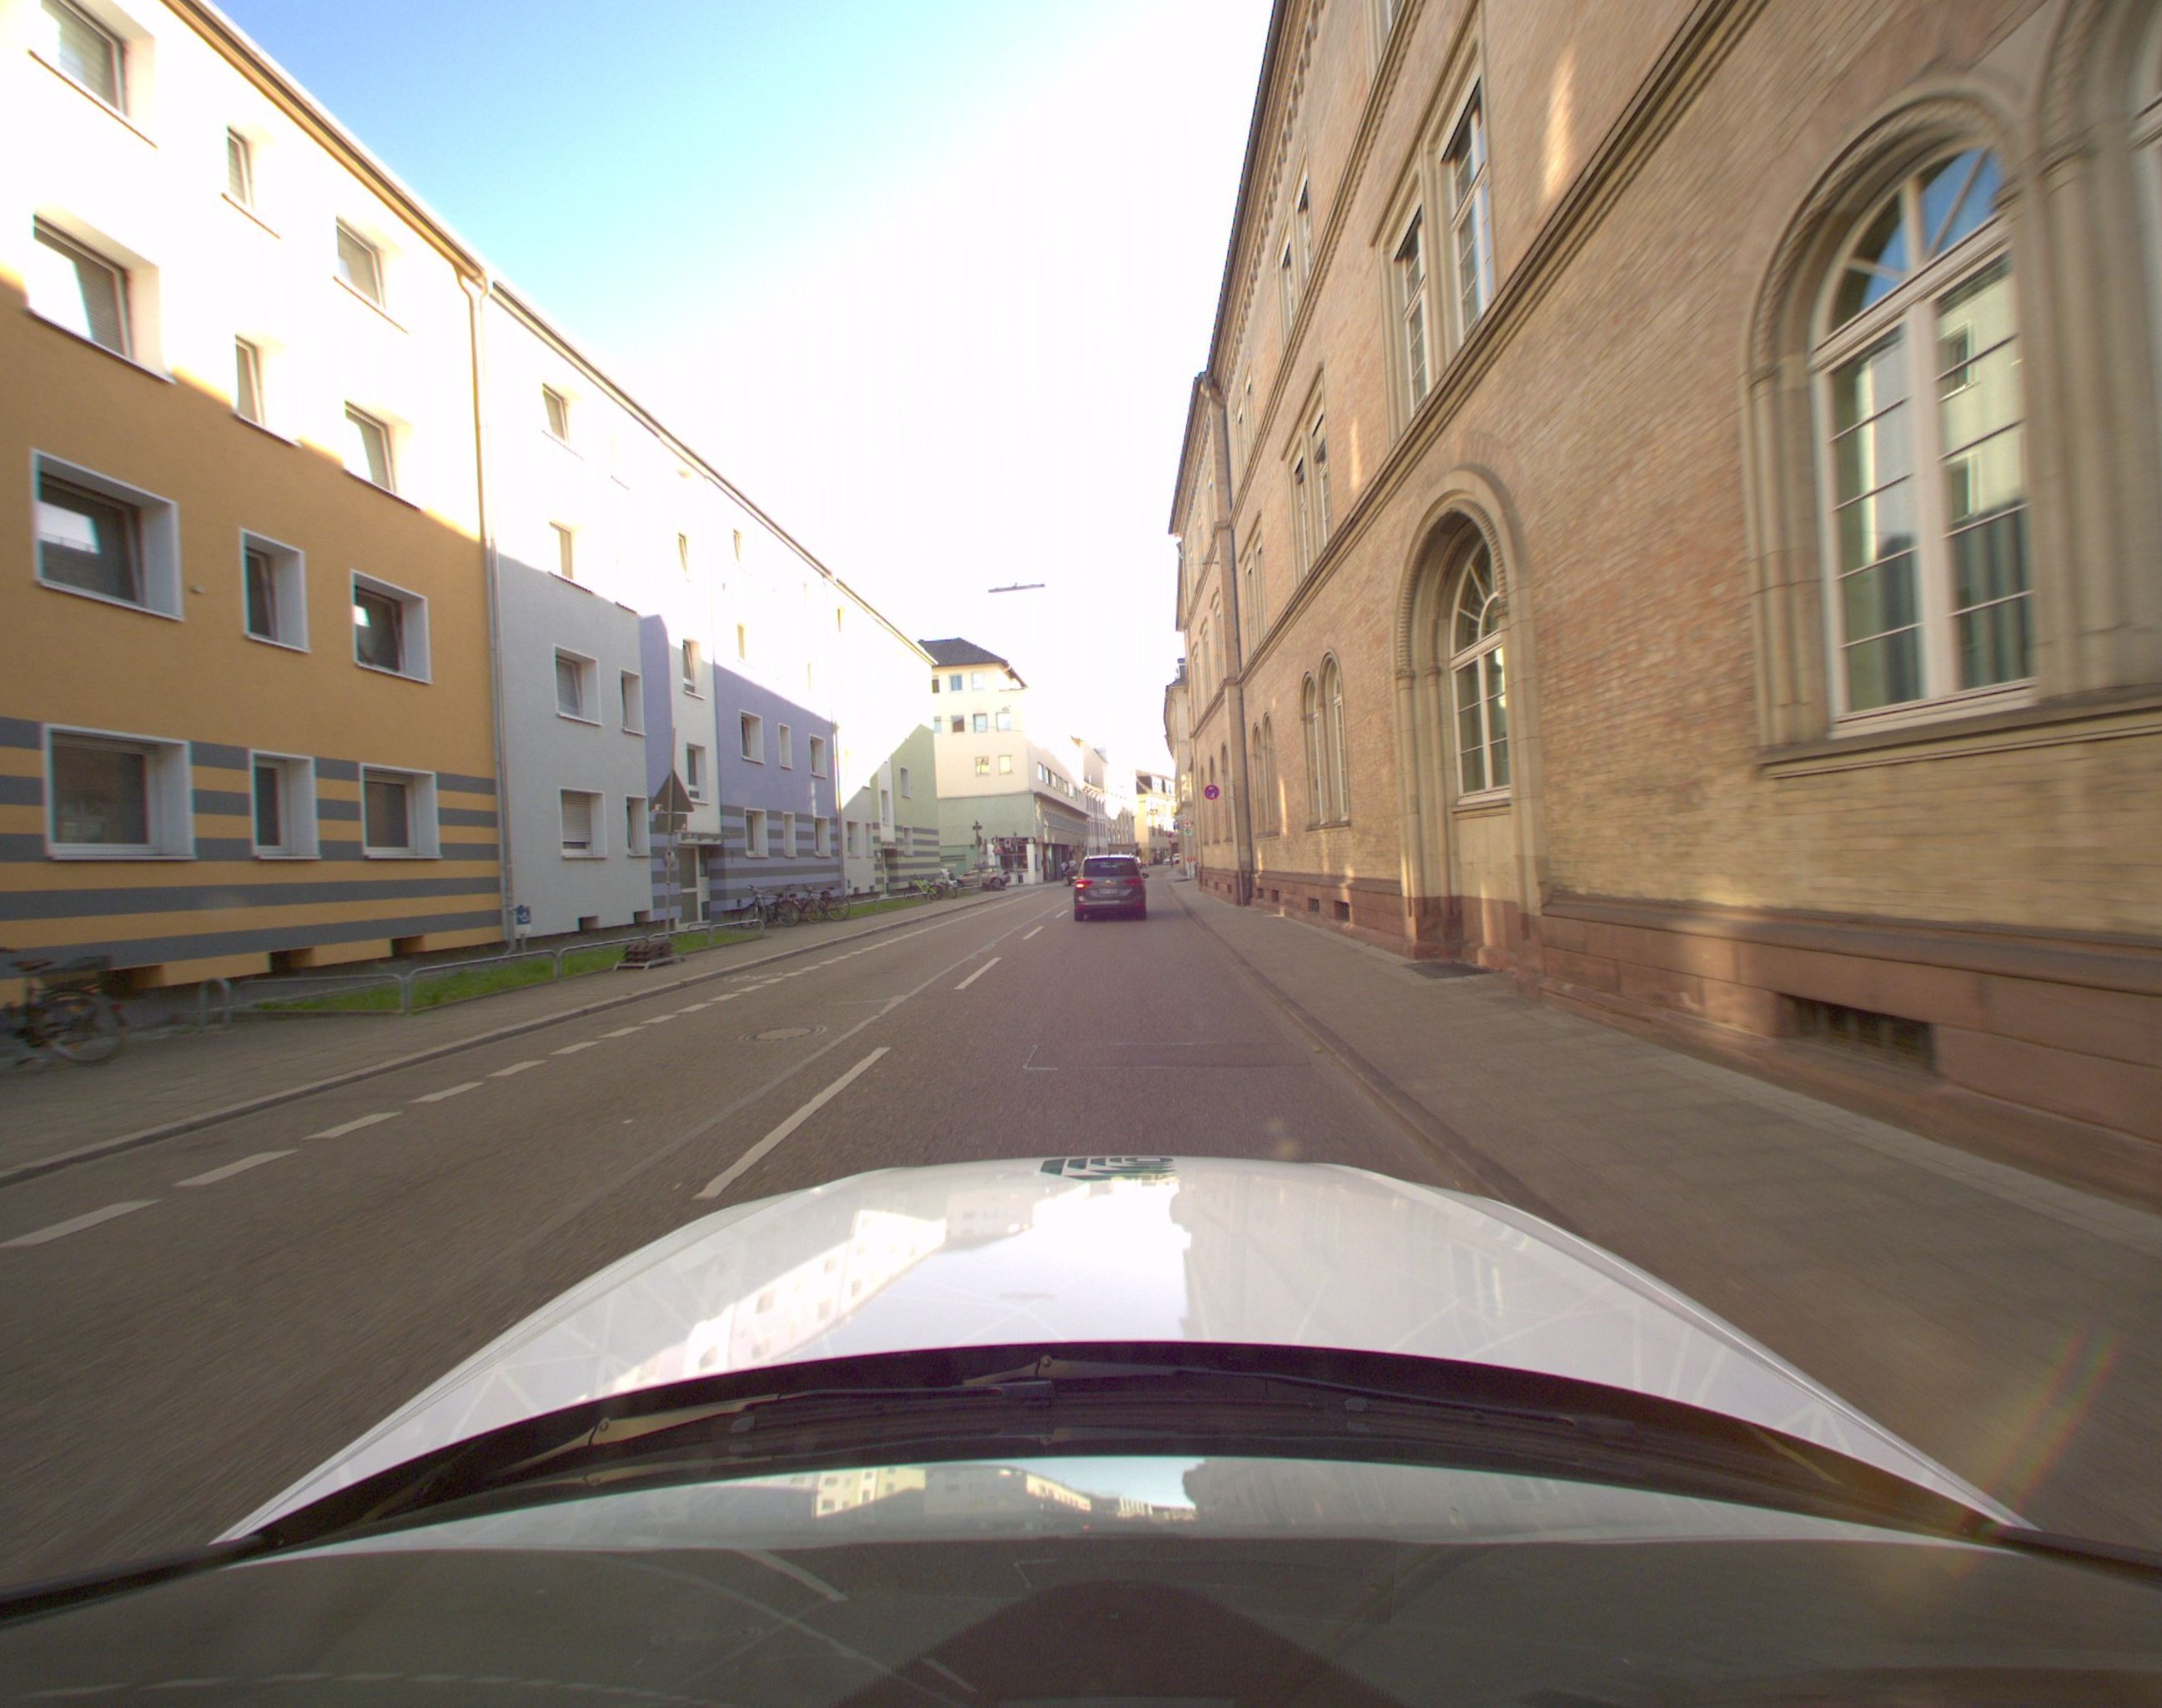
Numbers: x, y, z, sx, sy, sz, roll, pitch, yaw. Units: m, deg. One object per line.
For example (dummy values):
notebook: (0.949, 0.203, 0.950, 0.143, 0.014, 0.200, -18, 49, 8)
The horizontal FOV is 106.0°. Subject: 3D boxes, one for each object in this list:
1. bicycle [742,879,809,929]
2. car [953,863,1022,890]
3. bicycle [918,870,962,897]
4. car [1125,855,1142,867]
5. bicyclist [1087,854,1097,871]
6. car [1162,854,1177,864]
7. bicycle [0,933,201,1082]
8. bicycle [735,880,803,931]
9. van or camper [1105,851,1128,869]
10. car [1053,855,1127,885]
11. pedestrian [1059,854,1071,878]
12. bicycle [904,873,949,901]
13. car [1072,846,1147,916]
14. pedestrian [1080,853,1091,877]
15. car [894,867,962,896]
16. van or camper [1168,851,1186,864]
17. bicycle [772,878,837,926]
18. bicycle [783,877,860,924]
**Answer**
bicycle: (-8.251, 1.352, 22.021, 1.579, 1.241, 0.449, -3, 0, 1)
car: (-6.117, 1.447, 53.667, 4.078, 1.443, 1.951, -4, 0, 6)
bicycle: (-6.499, 1.356, 37.657, 1.926, 1.179, 0.612, -1, -1, -5)
car: (7.319, 0.918, 112.935, 1.854, 1.468, 3.844, -3, 0, 9)
bicyclist: (1.045, 0.786, 77.885, 0.827, 1.561, 0.760, -3, 0, 4)
car: (15.605, 0.838, 142.727, 1.720, 1.468, 4.019, -4, 0, 18)
bicycle: (-9.143, 1.362, 7.236, 1.749, 1.145, 0.649, -3, 0, -6)
bicycle: (-8.269, 1.371, 21.603, 1.574, 1.241, 0.384, -3, -1, 1)
van or camper: (4.231, 0.728, 96.908, 1.981, 2.013, 4.496, -3, 0, 10)
car: (0.466, 0.954, 47.018, 2.008, 1.541, 4.581, -3, 0, -33)
pedestrian: (-1.265, 0.959, 65.798, 0.550, 1.829, 0.735, -4, -1, 28)
bicycle: (-6.881, 1.461, 36.205, 1.930, 1.179, 0.611, -1, -1, -12)
car: (0.784, 0.640, 21.070, 1.754, 1.607, 4.003, -1, 0, 3)
pedestrian: (0.350, 0.876, 64.805, 0.550, 1.829, 0.735, -4, -1, 28)
car: (-8.994, 1.605, 47.969, 3.483, 1.443, 1.816, -4, 0, 6)
van or camper: (17.573, 0.605, 148.347, 1.977, 2.013, 5.024, -3, 0, 20)
bicycle: (-7.886, 1.365, 23.258, 1.633, 1.241, 0.467, -3, 0, 1)
bicycle: (-7.623, 1.358, 23.965, 2.001, 1.231, 0.623, -3, 0, 1)
